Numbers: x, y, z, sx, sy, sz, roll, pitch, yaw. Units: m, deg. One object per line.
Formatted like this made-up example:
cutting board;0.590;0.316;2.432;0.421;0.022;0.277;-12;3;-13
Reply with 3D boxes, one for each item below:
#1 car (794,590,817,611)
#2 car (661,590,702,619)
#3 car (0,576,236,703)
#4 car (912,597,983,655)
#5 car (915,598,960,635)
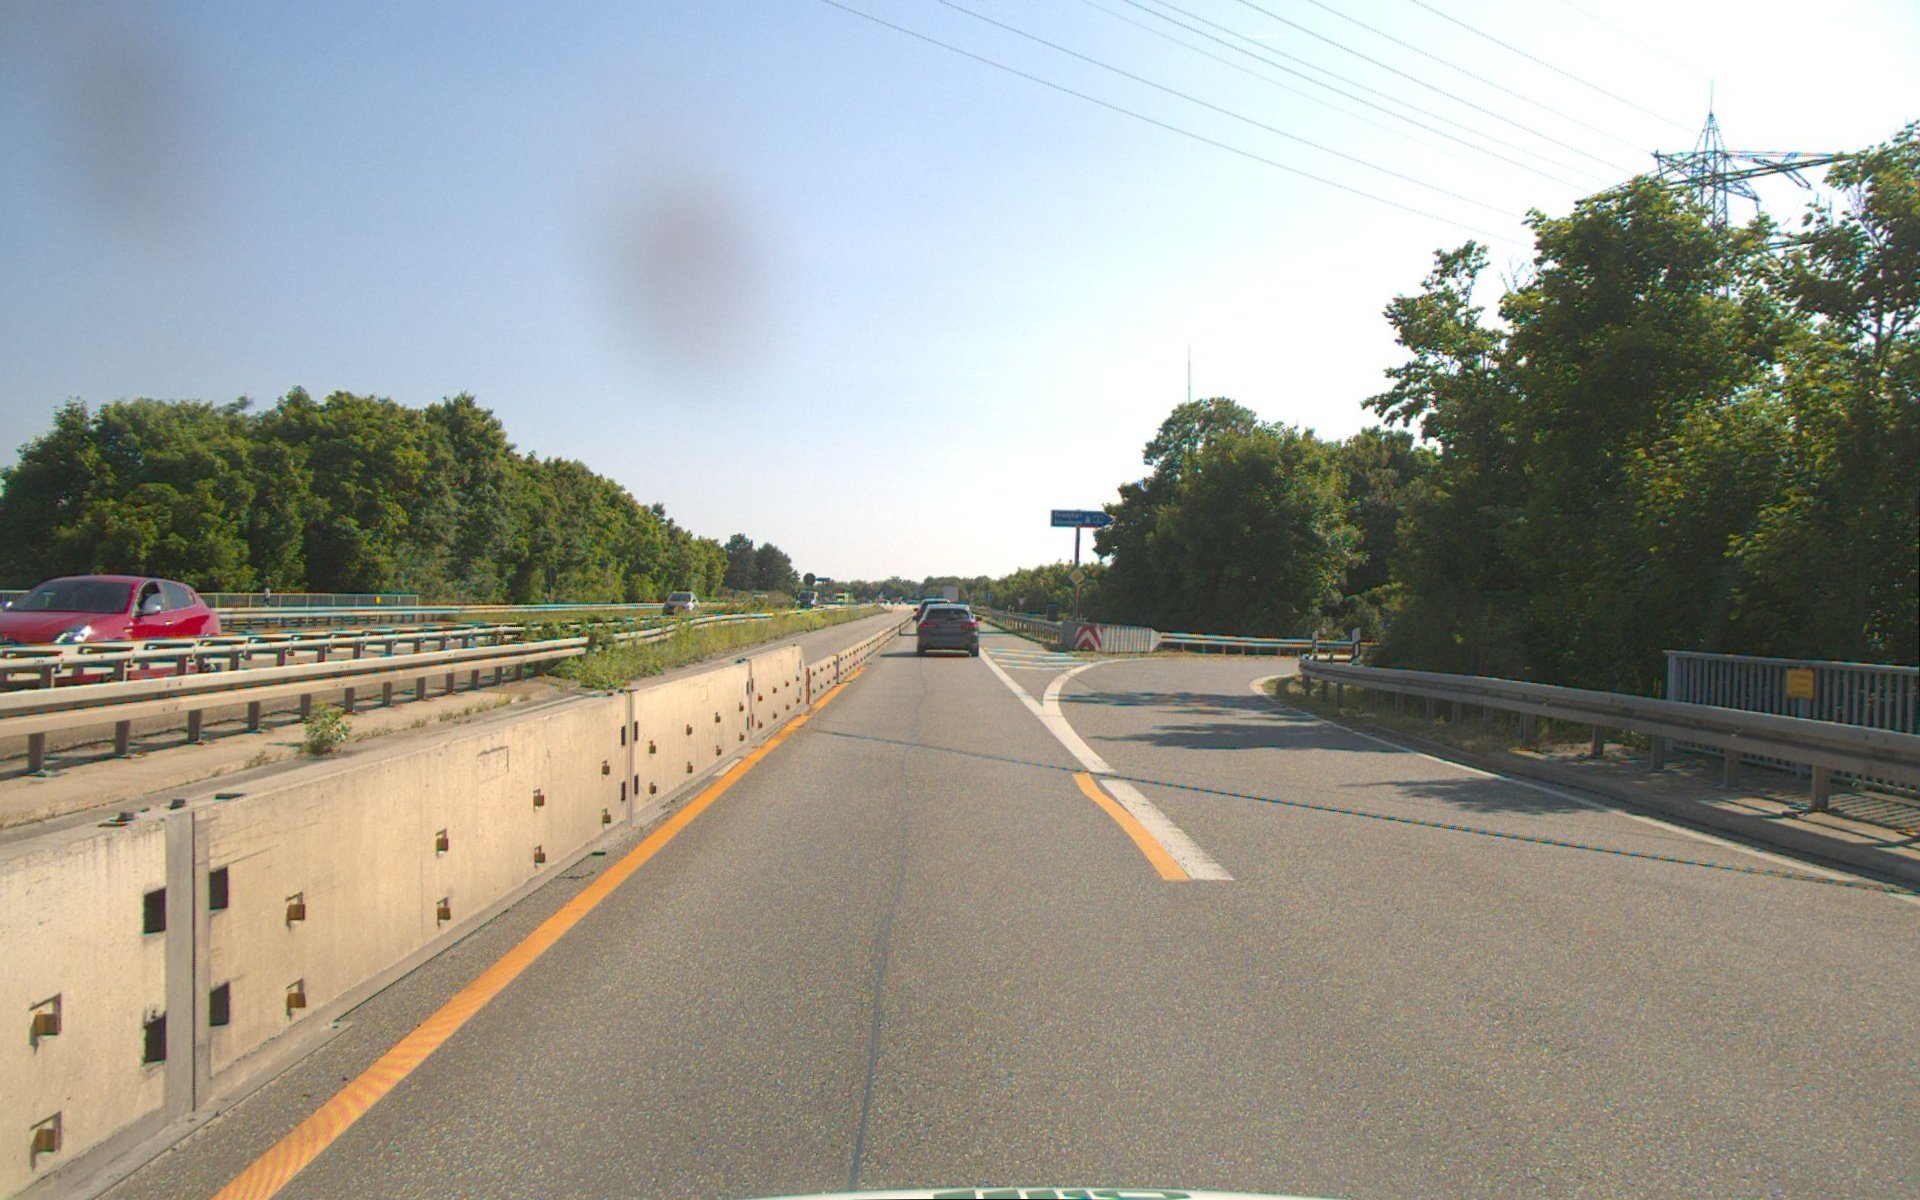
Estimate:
car;-15.549;0.006;166.624;1.953;2.070;5.167;0;0;-1
car;-16.296;0.238;96.978;1.727;1.610;4.422;0;0;-1
car;-10.826;0.437;20.773;1.679;1.421;4.219;1;0;-2
car;-0.389;0.714;47.484;1.882;1.520;3.998;2;0;-2
car;-1.005;0.729;74.265;1.953;1.594;3.999;0;0;-1
